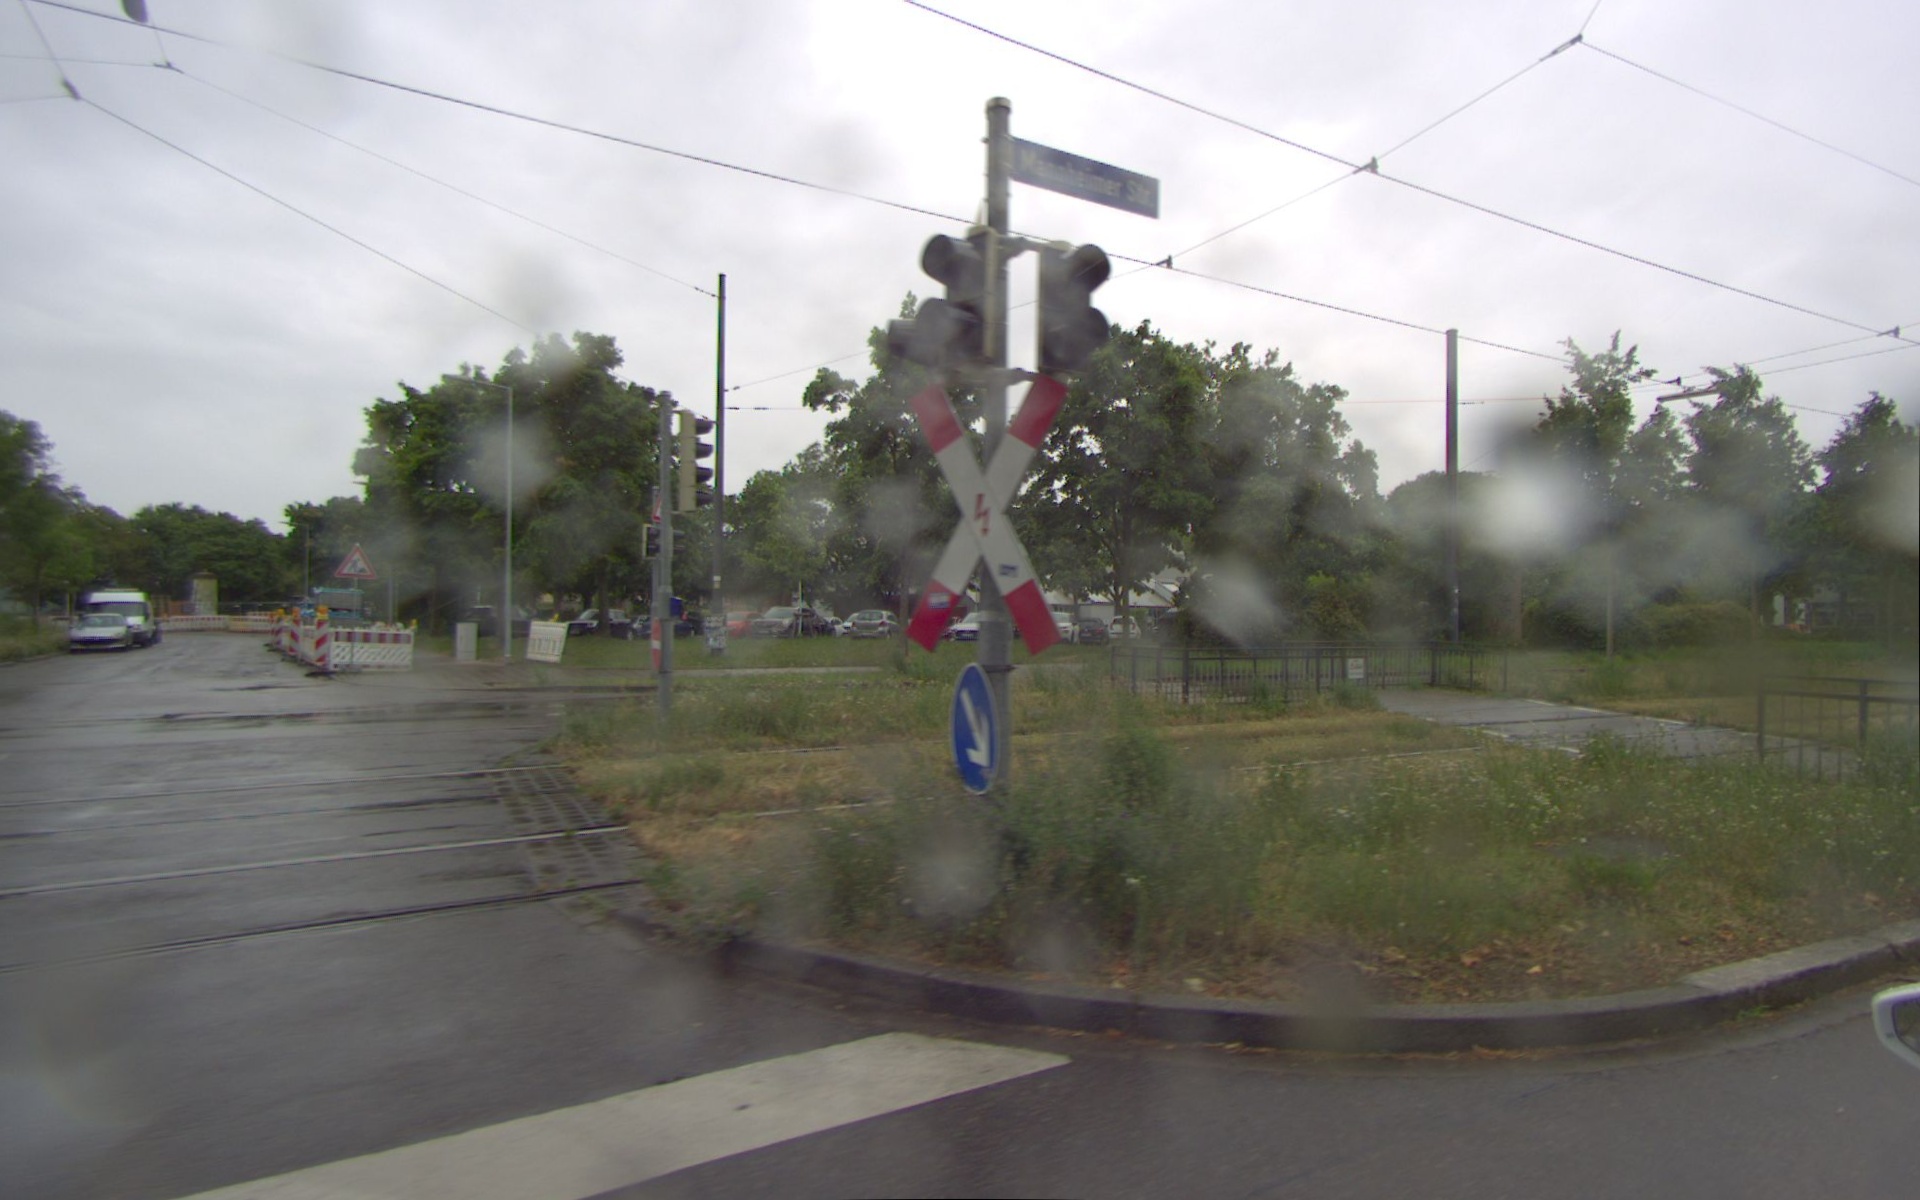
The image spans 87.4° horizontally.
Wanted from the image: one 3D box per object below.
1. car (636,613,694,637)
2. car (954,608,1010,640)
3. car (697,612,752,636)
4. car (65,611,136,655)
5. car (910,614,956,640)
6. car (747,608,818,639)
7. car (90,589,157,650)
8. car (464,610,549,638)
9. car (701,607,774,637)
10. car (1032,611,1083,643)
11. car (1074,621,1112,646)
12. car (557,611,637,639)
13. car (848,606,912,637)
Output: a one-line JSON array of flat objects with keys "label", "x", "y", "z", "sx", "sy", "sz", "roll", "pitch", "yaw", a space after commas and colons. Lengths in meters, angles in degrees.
[{"label": "car", "x": -17.135, "y": 1.453, "z": 58.581, "sx": 1.632, "sy": 1.343, "sz": 3.745, "roll": 0, "pitch": -1, "yaw": 12}, {"label": "car", "x": 0.947, "y": 1.007, "z": 41.597, "sx": 1.632, "sy": 1.265, "sz": 3.745, "roll": 0, "pitch": -1, "yaw": 12}, {"label": "car", "x": -13.556, "y": 1.395, "z": 58.057, "sx": 1.632, "sy": 1.343, "sz": 3.745, "roll": 0, "pitch": -1, "yaw": 12}, {"label": "car", "x": -32.446, "y": 1.232, "z": 38.004, "sx": 1.736, "sy": 1.550, "sz": 3.592, "roll": 1, "pitch": -2, "yaw": -36}, {"label": "car", "x": -1.428, "y": 1.434, "z": 53.946, "sx": 1.632, "sy": 1.343, "sz": 3.745, "roll": 0, "pitch": -1, "yaw": 12}, {"label": "car", "x": -7.709, "y": 1.036, "z": 43.895, "sx": 1.632, "sy": 1.265, "sz": 3.744, "roll": 0, "pitch": -2, "yaw": 15}, {"label": "car", "x": -35.910, "y": 0.857, "z": 43.217, "sx": 1.899, "sy": 2.478, "sz": 4.425, "roll": 1, "pitch": -1, "yaw": -36}, {"label": "car", "x": -21.503, "y": 1.137, "z": 47.776, "sx": 1.632, "sy": 1.265, "sz": 3.744, "roll": 0, "pitch": -2, "yaw": 15}, {"label": "car", "x": -9.857, "y": 0.981, "z": 44.720, "sx": 1.632, "sy": 1.265, "sz": 3.744, "roll": 0, "pitch": -2, "yaw": 15}, {"label": "car", "x": 4.018, "y": 1.104, "z": 41.090, "sx": 1.632, "sy": 1.265, "sz": 3.745, "roll": 0, "pitch": -1, "yaw": 12}, {"label": "car", "x": 6.891, "y": 1.716, "z": 51.702, "sx": 1.632, "sy": 1.265, "sz": 3.745, "roll": 0, "pitch": -1, "yaw": 12}, {"label": "car", "x": -16.919, "y": 1.155, "z": 46.981, "sx": 1.632, "sy": 1.265, "sz": 3.744, "roll": 0, "pitch": -2, "yaw": 15}, {"label": "car", "x": -3.432, "y": 0.944, "z": 43.633, "sx": 1.632, "sy": 1.265, "sz": 3.744, "roll": 0, "pitch": -2, "yaw": 15}]
